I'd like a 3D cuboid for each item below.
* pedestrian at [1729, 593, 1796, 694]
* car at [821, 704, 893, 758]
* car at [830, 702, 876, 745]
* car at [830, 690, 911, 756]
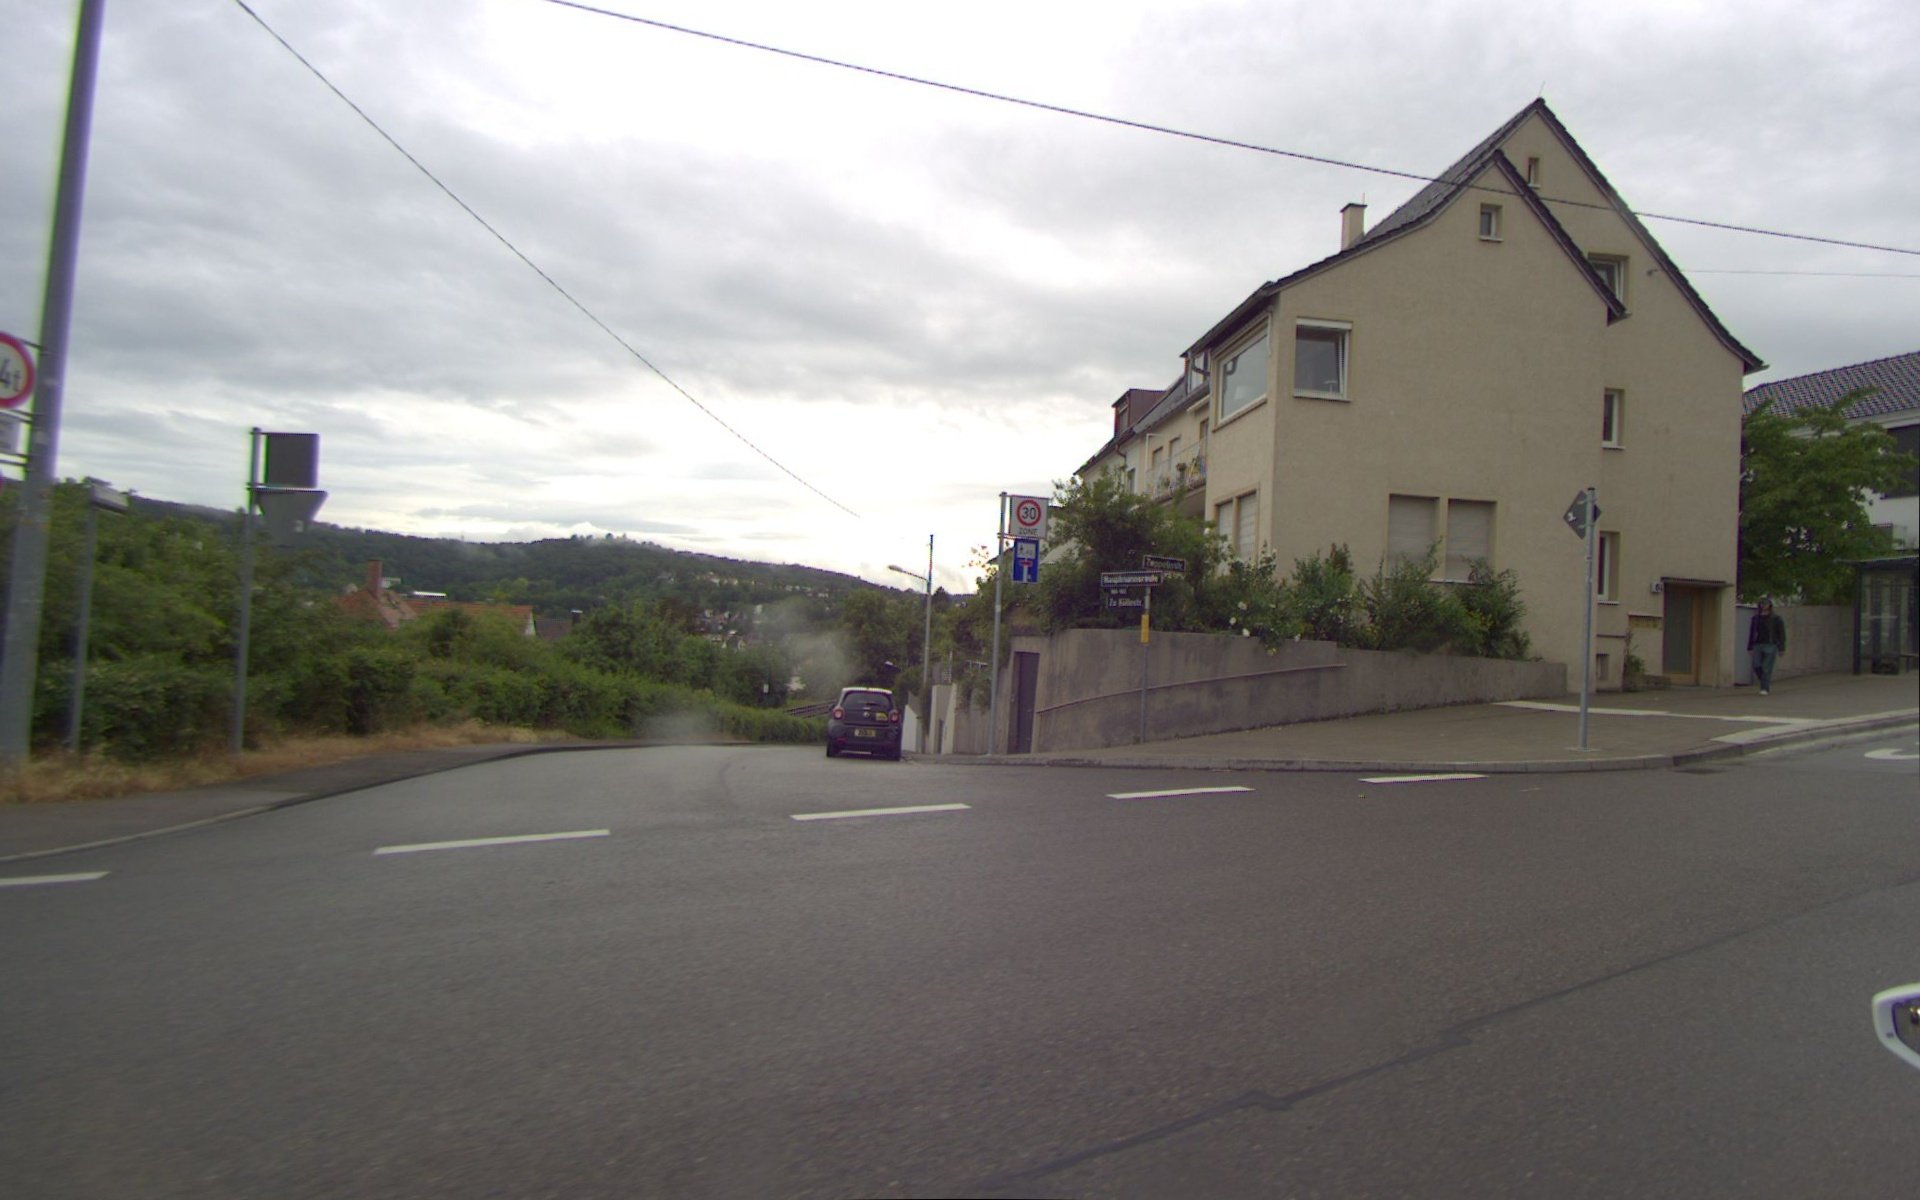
[{"bbox_3d":[15.431,0.821,19.327,0.719,1.882,0.783,1,0,-30],"label":"pedestrian"},{"bbox_3d":[-2.904,3.673,28.250,1.774,1.286,4.000,4,-8,-6],"label":"car"},{"bbox_3d":[-4.365,5.021,40.718,1.670,1.661,3.202,1,-8,-10],"label":"car"},{"bbox_3d":[-2.097,2.834,23.076,1.622,1.286,4.000,4,-8,-6],"label":"car"}]
